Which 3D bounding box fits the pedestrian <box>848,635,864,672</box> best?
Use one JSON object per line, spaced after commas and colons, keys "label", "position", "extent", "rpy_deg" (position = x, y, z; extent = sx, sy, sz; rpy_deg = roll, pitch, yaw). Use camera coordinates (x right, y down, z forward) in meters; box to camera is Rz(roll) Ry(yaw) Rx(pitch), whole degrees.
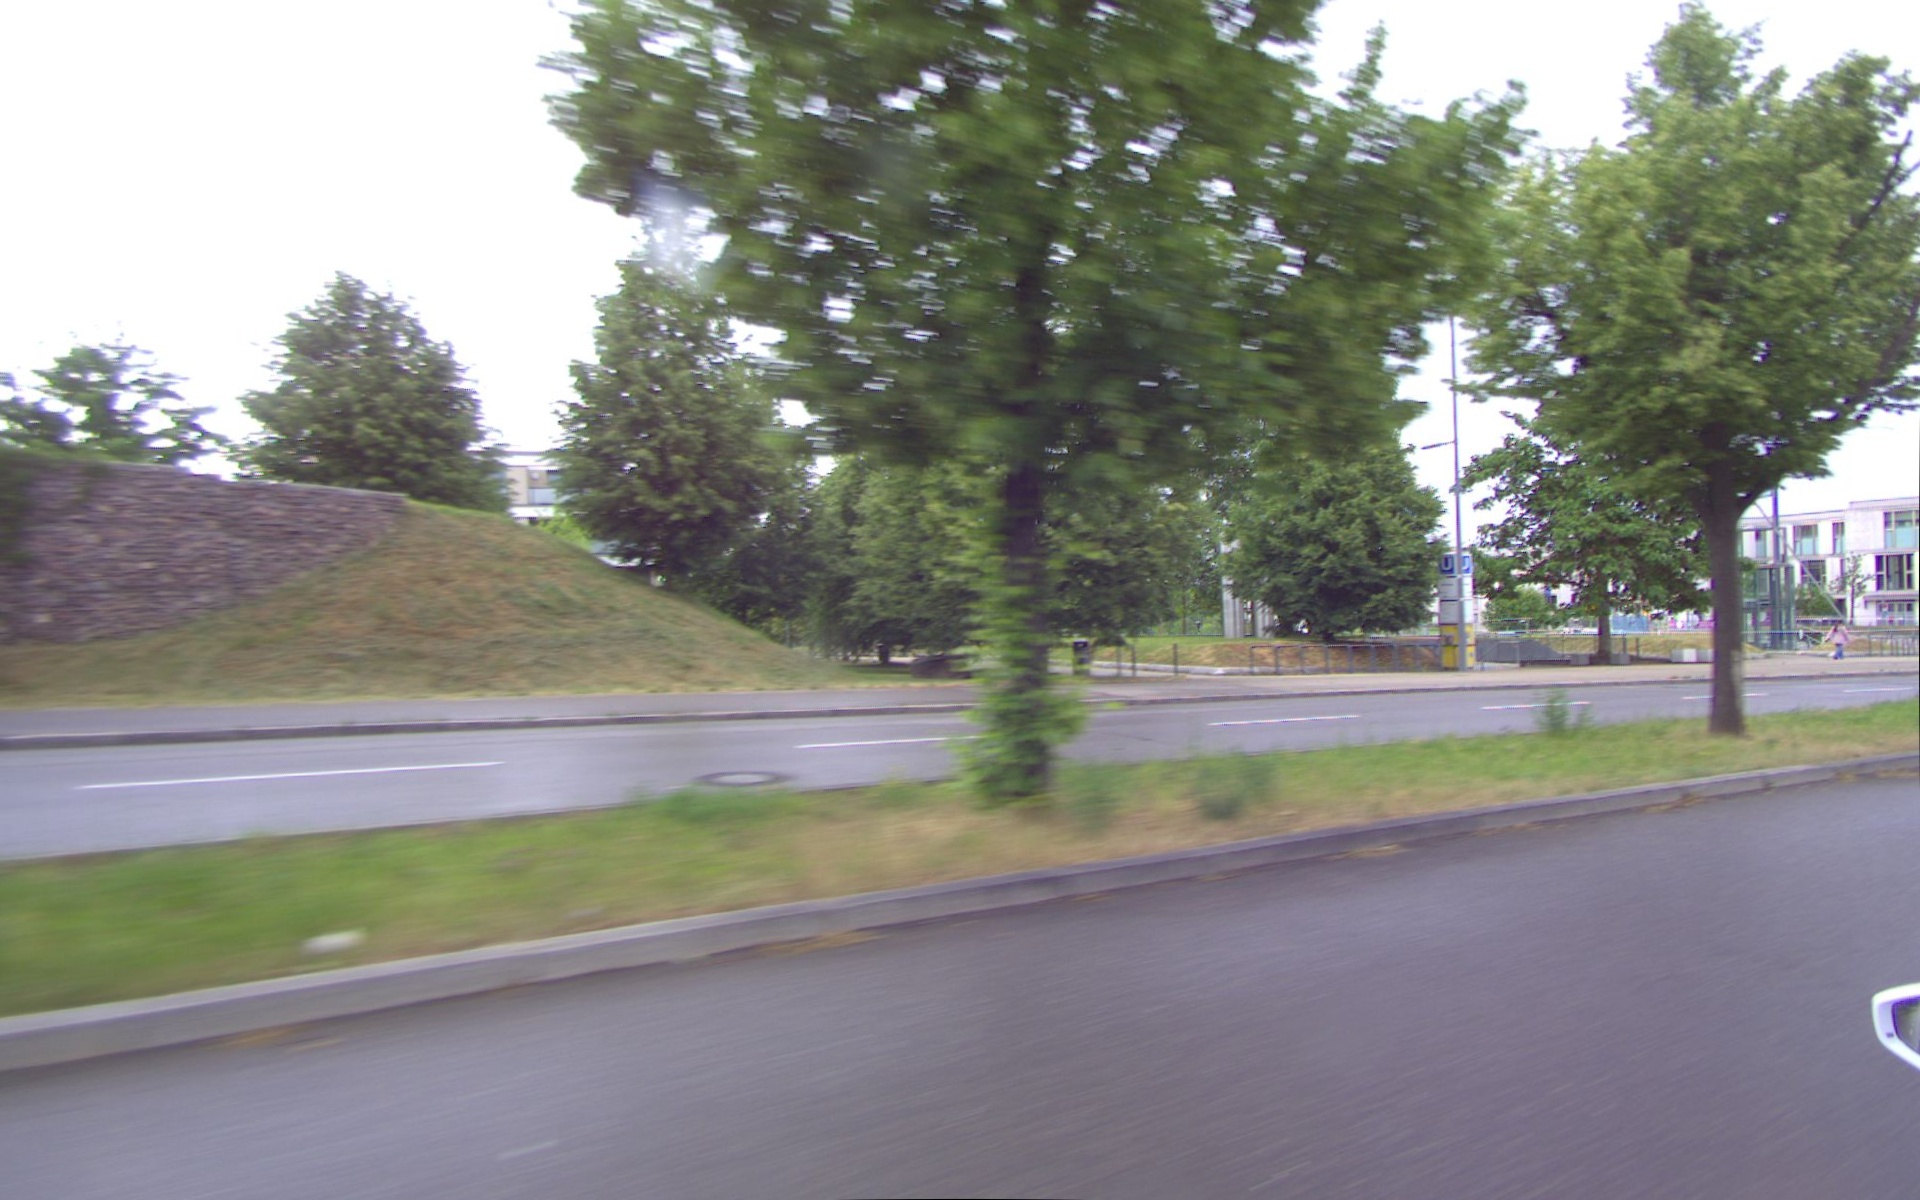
{"label": "pedestrian", "position": [-5.134, 2.638, 49.590], "extent": [0.637, 1.751, 0.752], "rpy_deg": [2, -1, -18]}

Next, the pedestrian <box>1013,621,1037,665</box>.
{"label": "pedestrian", "position": [2.637, 1.740, 40.838], "extent": [0.745, 1.751, 0.644], "rpy_deg": [2, -1, -24]}

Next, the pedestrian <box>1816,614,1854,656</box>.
{"label": "pedestrian", "position": [35.053, 1.410, 40.250], "extent": [0.922, 1.642, 0.812], "rpy_deg": [2, -1, -23]}
